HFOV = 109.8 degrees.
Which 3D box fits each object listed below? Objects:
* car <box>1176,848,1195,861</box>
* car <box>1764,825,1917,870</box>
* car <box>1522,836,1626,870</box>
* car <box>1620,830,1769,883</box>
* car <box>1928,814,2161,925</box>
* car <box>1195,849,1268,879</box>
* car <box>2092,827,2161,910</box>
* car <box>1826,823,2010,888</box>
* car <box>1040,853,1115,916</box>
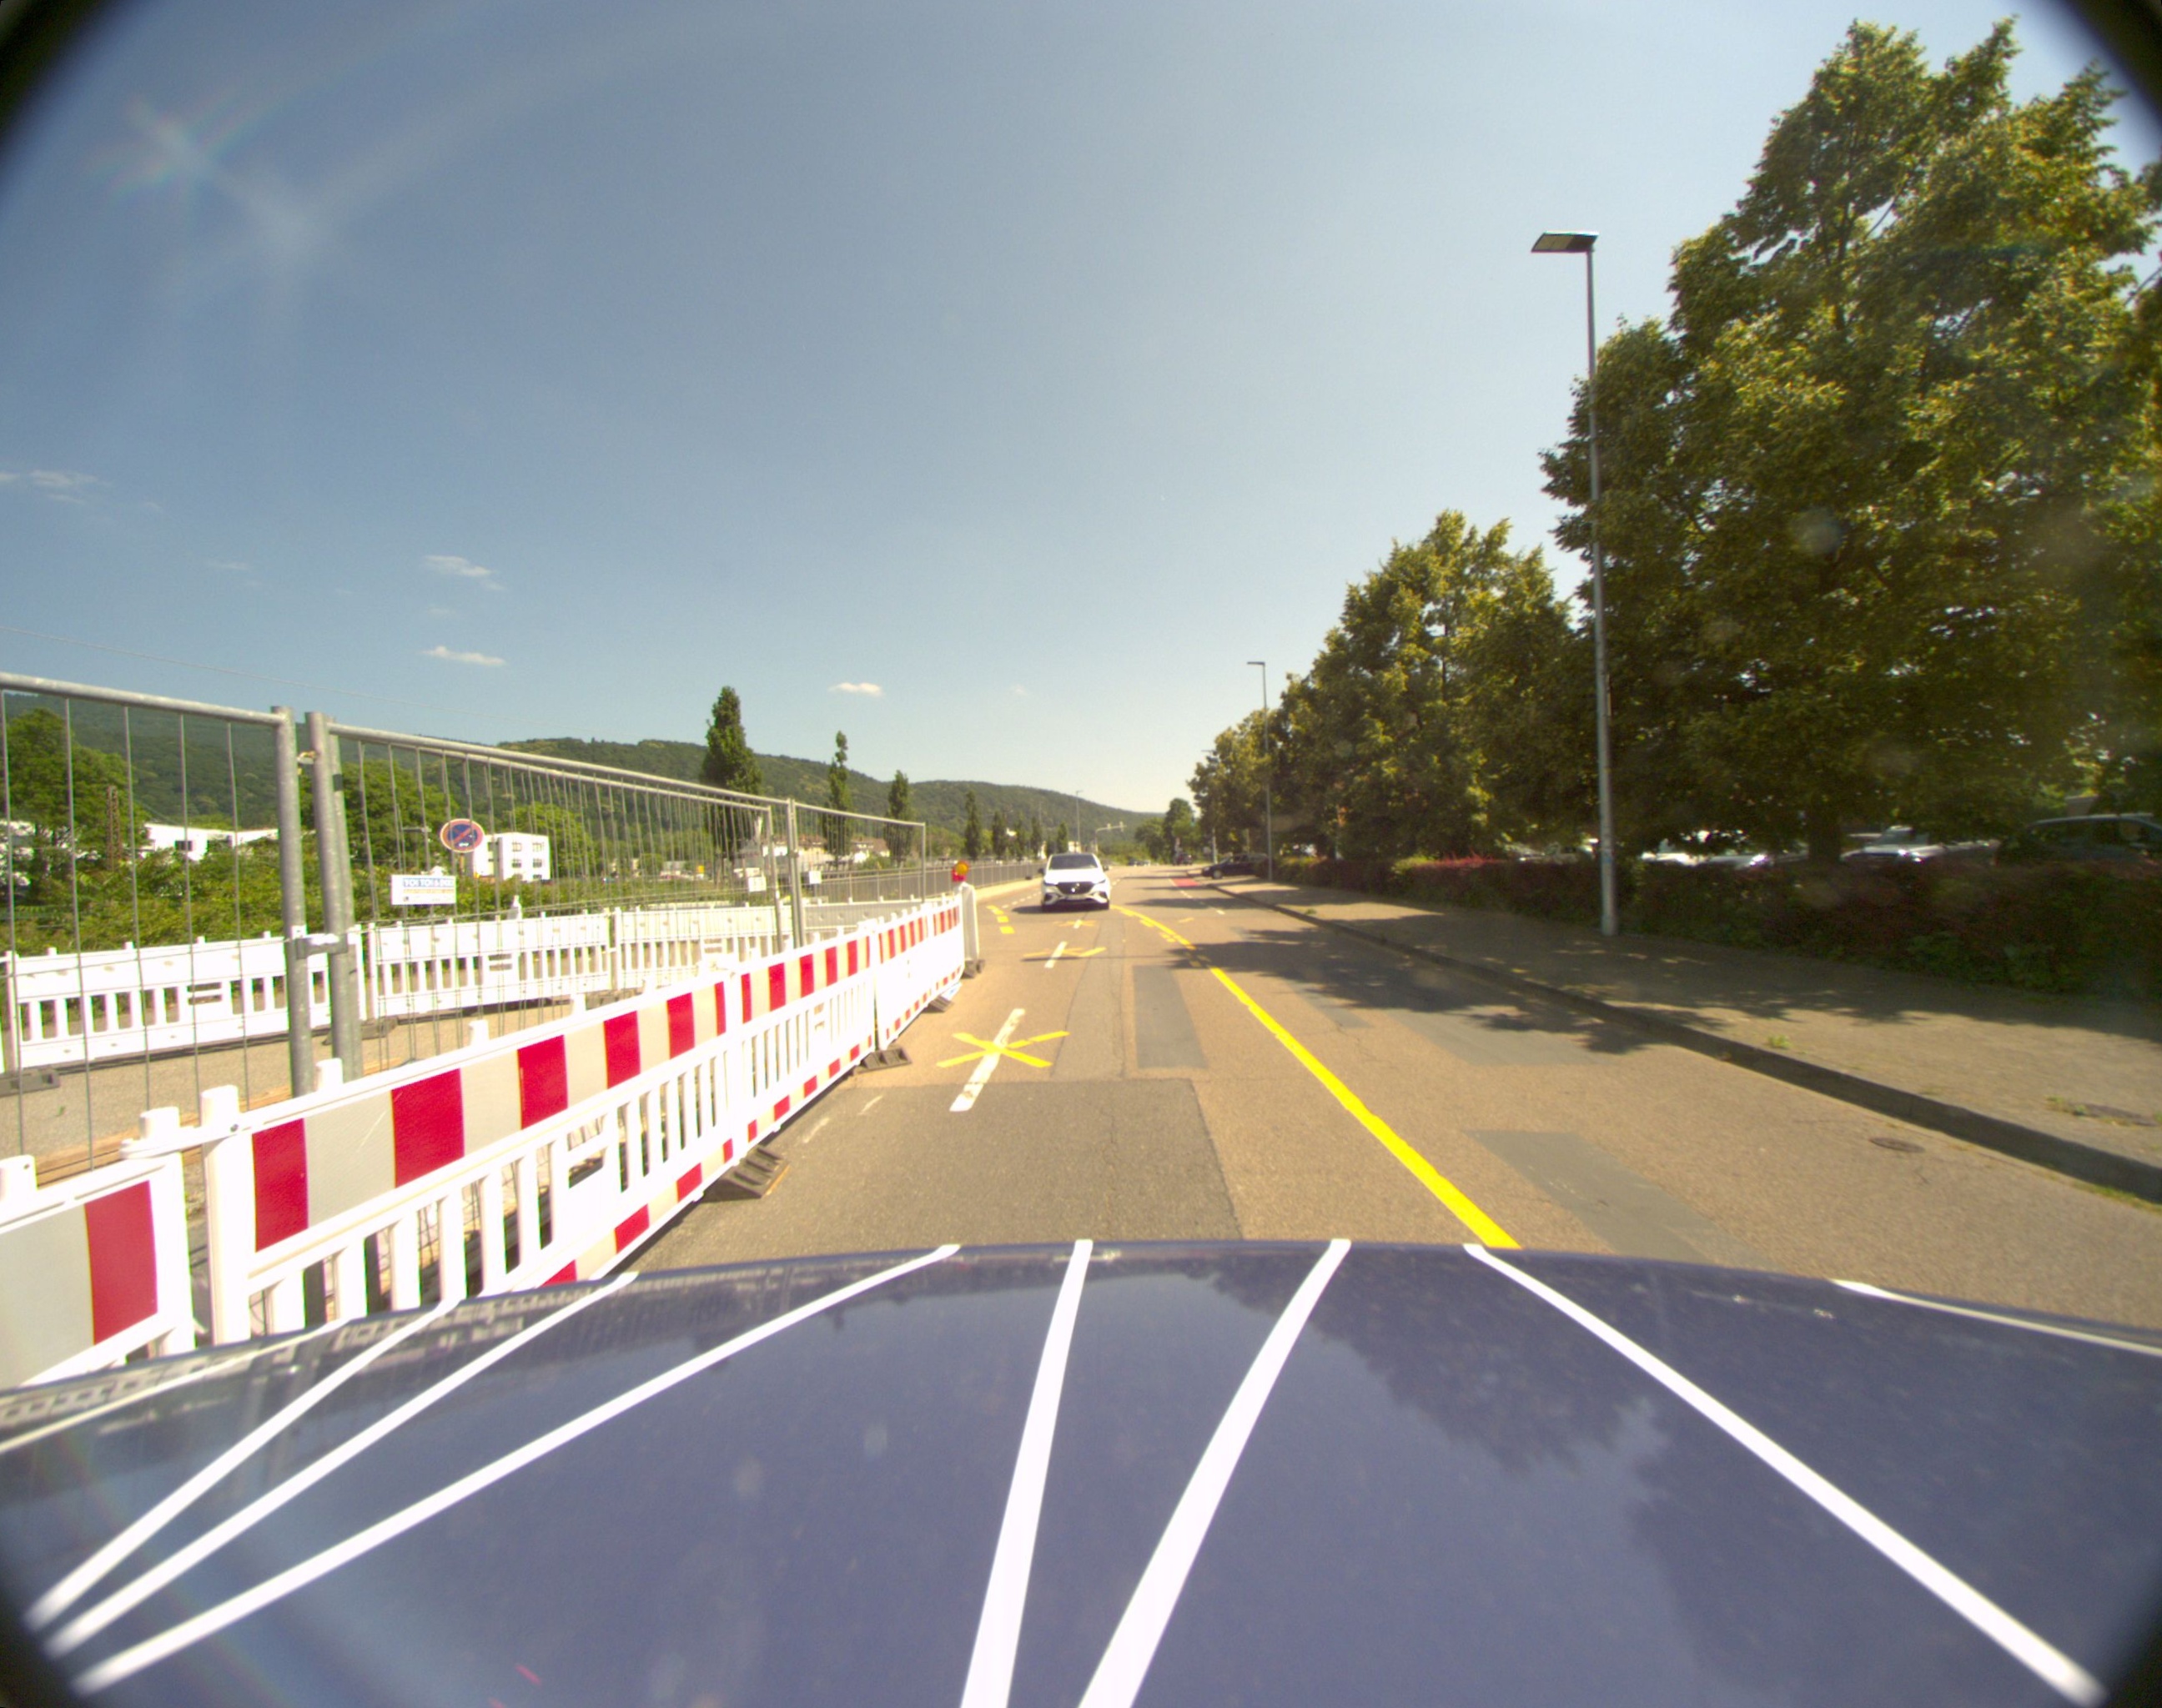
[{"bbox_3d":[13.537,0.093,98.382,1.996,1.635,4.532,-1,0,13],"label":"car"},{"bbox_3d":[33.035,-0.258,33.252,1.862,1.676,4.362,-4,1,-12],"label":"car"},{"bbox_3d":[24.686,-0.049,38.238,1.921,1.543,4.137,-2,0,-14],"label":"car"},{"bbox_3d":[21.618,0.078,26.823,4.314,1.676,1.860,-2,0,-14],"label":"car"},{"bbox_3d":[17.223,0.232,12.432,1.861,1.676,4.367,0,0,0],"label":"car"},{"bbox_3d":[8.789,0.564,44.654,3.995,1.455,1.881,-4,1,7],"label":"car"},{"bbox_3d":[19.734,0.256,11.944,1.861,1.444,4.367,0,0,0],"label":"car"},{"bbox_3d":[24.597,0.027,22.364,4.369,1.676,1.860,-2,0,-15],"label":"car"},{"bbox_3d":[-0.161,0.830,23.357,1.999,1.635,5.030,-3,0,-2],"label":"car"}]
